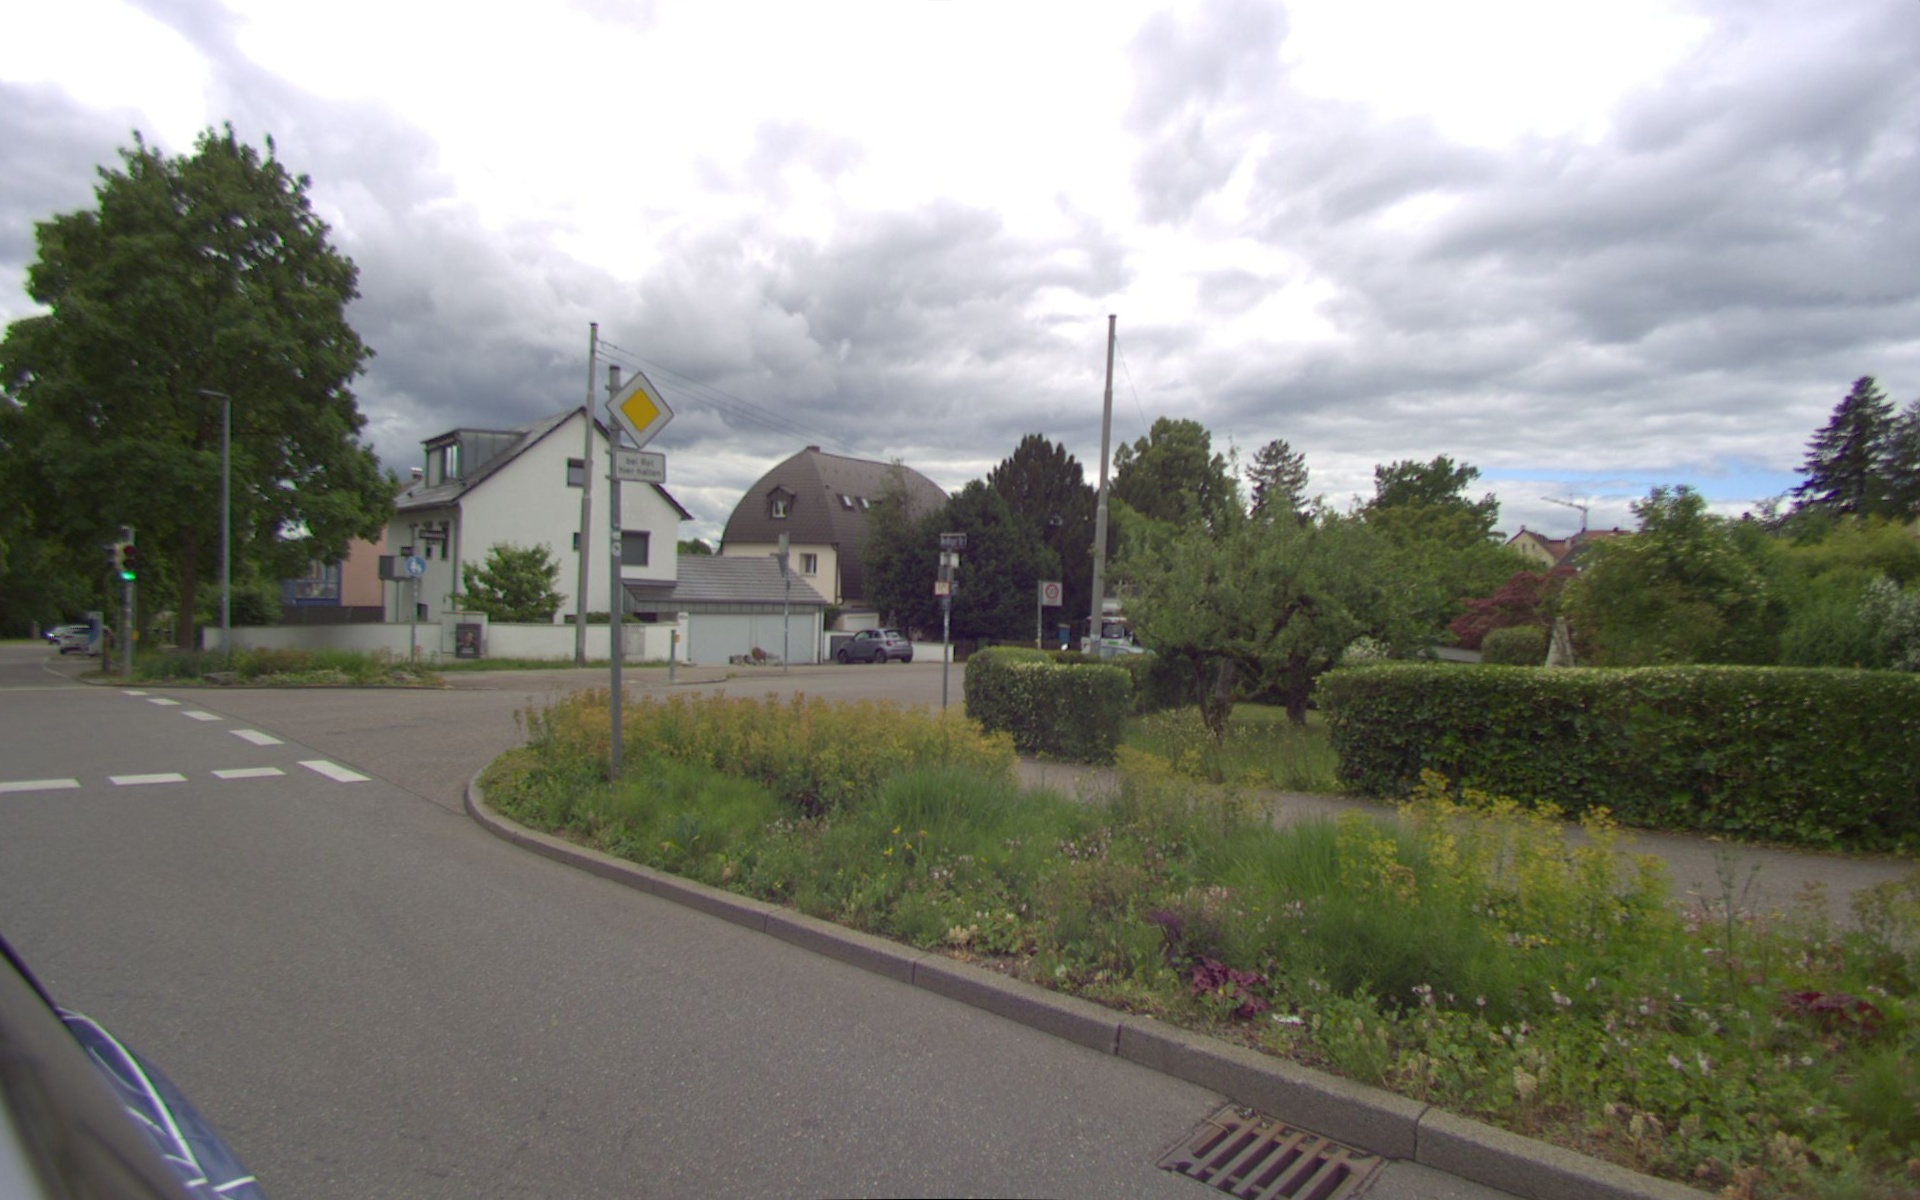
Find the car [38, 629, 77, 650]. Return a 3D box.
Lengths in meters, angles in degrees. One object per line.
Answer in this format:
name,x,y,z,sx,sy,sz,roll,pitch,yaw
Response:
car,-73.496,3.221,82.470,1.542,1.524,3.408,3,-1,-28

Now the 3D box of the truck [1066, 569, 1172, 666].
truck,8.530,0.969,53.282,3.139,4.585,7.881,3,-1,26

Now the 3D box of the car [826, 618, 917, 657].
car,-3.797,1.626,42.910,3.858,1.508,1.668,-4,-4,42

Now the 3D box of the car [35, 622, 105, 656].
car,-45.494,1.982,51.836,1.966,1.564,4.012,3,-1,-32
